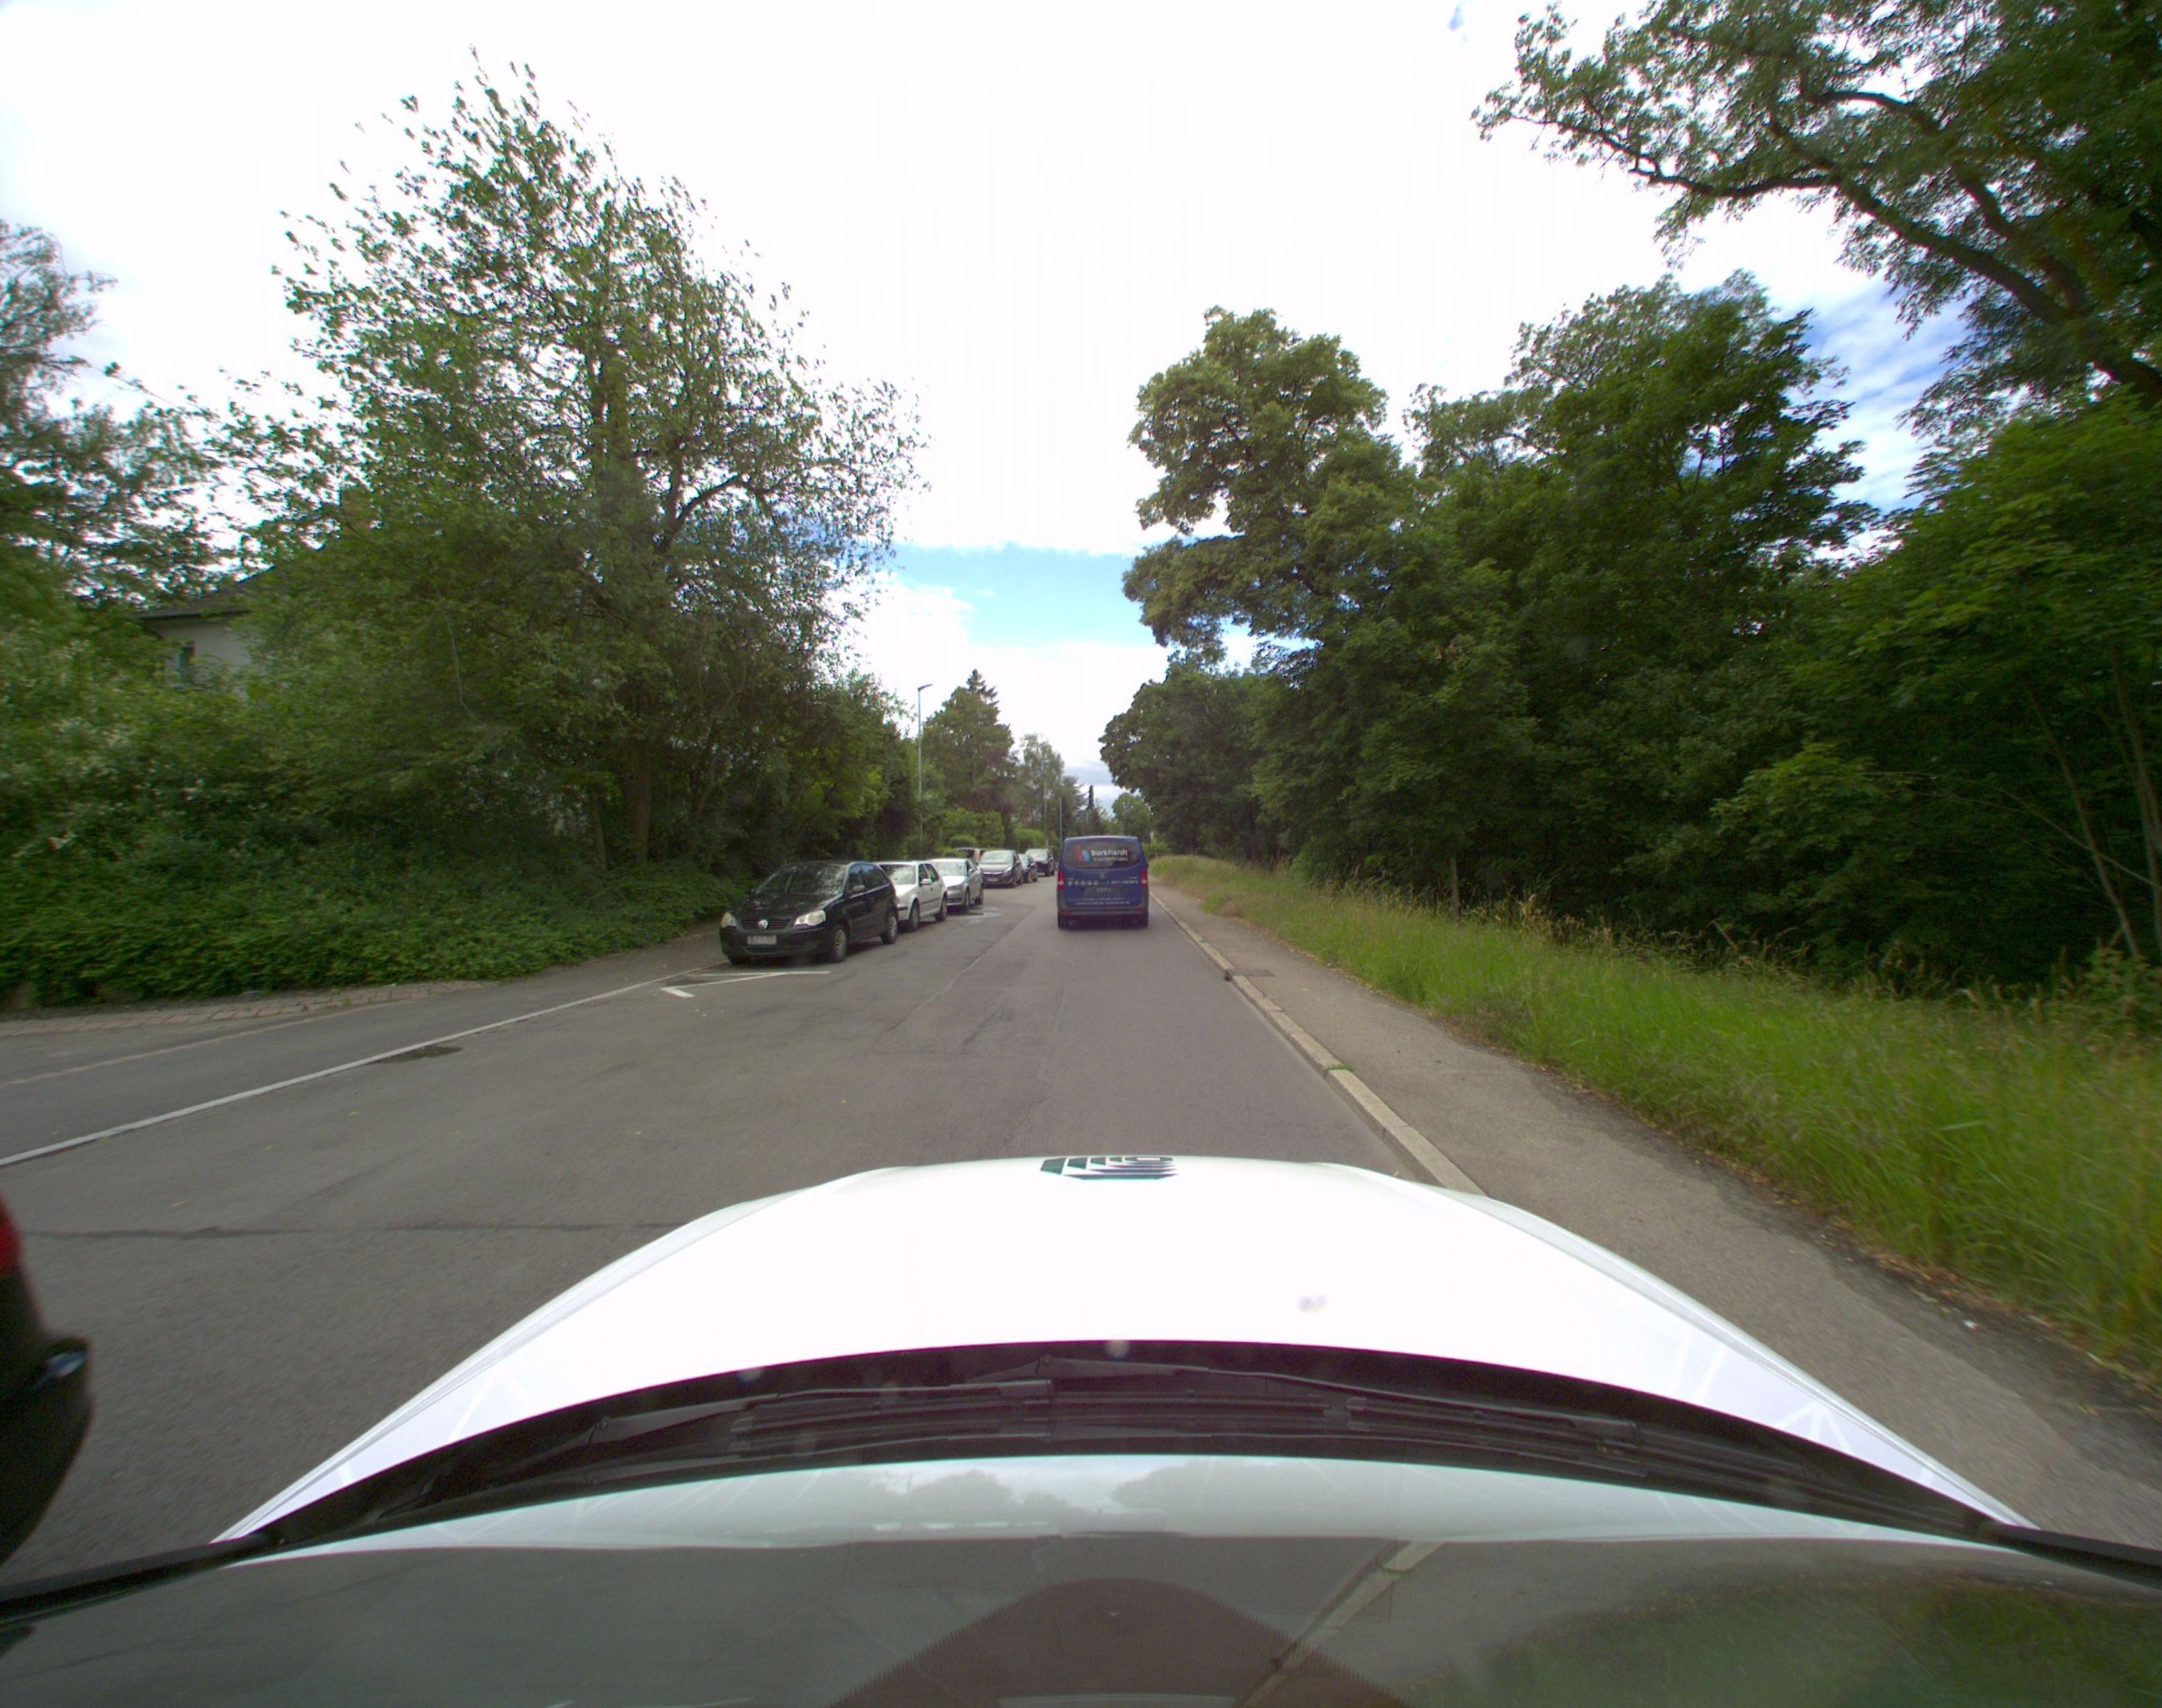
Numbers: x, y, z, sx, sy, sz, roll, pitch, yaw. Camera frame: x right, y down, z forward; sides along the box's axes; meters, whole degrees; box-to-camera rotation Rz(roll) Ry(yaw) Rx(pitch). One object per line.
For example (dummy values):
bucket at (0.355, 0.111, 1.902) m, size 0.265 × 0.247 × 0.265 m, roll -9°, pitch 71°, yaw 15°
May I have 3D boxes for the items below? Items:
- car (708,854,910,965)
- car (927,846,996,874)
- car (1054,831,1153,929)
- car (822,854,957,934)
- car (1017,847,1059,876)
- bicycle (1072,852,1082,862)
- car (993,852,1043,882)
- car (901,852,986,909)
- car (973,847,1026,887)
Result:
car at (-4.102, 0.755, 12.999) m, size 1.616 × 1.450 × 3.973 m, roll -1°, pitch 0°, yaw 4°
car at (-7.196, 0.344, 49.153) m, size 3.665 × 1.637 × 1.835 m, roll 1°, pitch 0°, yaw 15°
car at (0.408, 0.449, 17.786) m, size 1.883 × 1.843 × 3.999 m, roll -1°, pitch 2°, yaw -1°
car at (-3.991, 0.759, 17.720) m, size 1.653 × 1.452 × 4.385 m, roll -1°, pitch 0°, yaw 3°
car at (-2.661, 0.423, 51.896) m, size 1.965 × 1.737 × 5.196 m, roll 1°, pitch 0°, yaw 5°
bicycle at (-0.504, 0.367, 100.271) m, size 0.901 × 1.252 × 2.920 m, roll 2°, pitch 0°, yaw 6°
car at (-3.106, 0.622, 41.174) m, size 1.746 × 1.412 × 4.905 m, roll 1°, pitch 0°, yaw 5°
car at (-3.808, 0.690, 23.236) m, size 1.617 × 1.450 × 4.095 m, roll 0°, pitch 0°, yaw 1°
car at (-3.492, 0.513, 35.730) m, size 1.724 × 1.632 × 4.570 m, roll 1°, pitch 0°, yaw 2°
